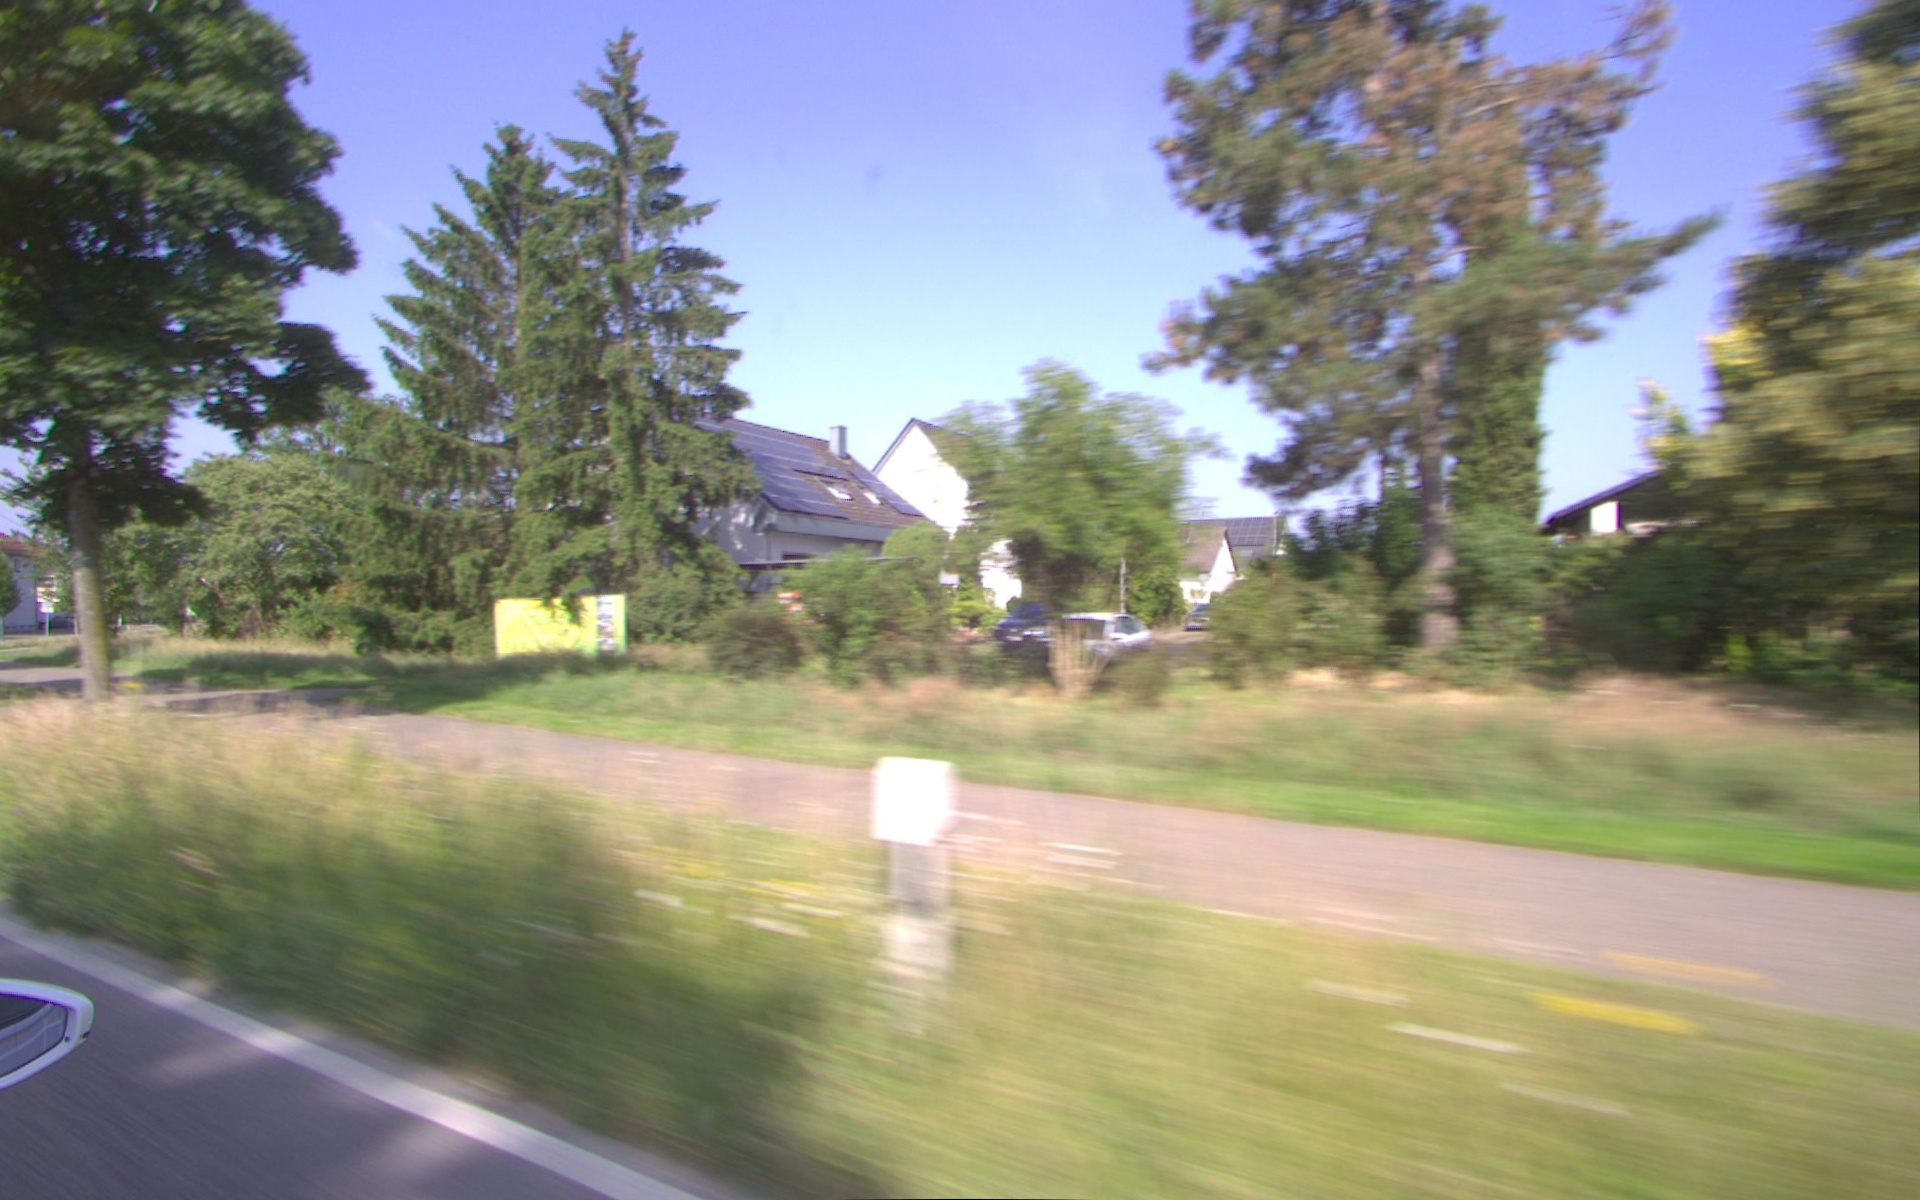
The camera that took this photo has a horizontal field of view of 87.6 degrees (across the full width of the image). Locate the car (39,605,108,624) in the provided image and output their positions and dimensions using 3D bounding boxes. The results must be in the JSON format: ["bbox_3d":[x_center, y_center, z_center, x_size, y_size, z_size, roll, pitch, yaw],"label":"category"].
[{"bbox_3d":[-82.528,1.349,93.287,4.388,1.720,1.765,1,-1,-23],"label":"car"}]

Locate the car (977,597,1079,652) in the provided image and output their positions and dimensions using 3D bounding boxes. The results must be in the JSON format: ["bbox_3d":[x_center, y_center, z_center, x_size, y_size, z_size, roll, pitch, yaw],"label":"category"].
[{"bbox_3d":[2.283,0.766,32.772,1.813,1.684,3.922,0,-1,30],"label":"car"}]

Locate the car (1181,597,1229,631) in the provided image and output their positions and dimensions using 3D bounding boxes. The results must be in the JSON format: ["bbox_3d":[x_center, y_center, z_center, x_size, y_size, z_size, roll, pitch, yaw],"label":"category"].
[{"bbox_3d":[12.618,0.711,51.449,1.809,1.684,3.929,0,-1,23],"label":"car"}]

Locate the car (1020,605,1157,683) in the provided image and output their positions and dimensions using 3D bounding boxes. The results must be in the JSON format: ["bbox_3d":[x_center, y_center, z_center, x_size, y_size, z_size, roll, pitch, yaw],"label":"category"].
[{"bbox_3d":[2.818,0.853,21.170,1.785,1.453,3.987,0,0,25],"label":"car"}]
